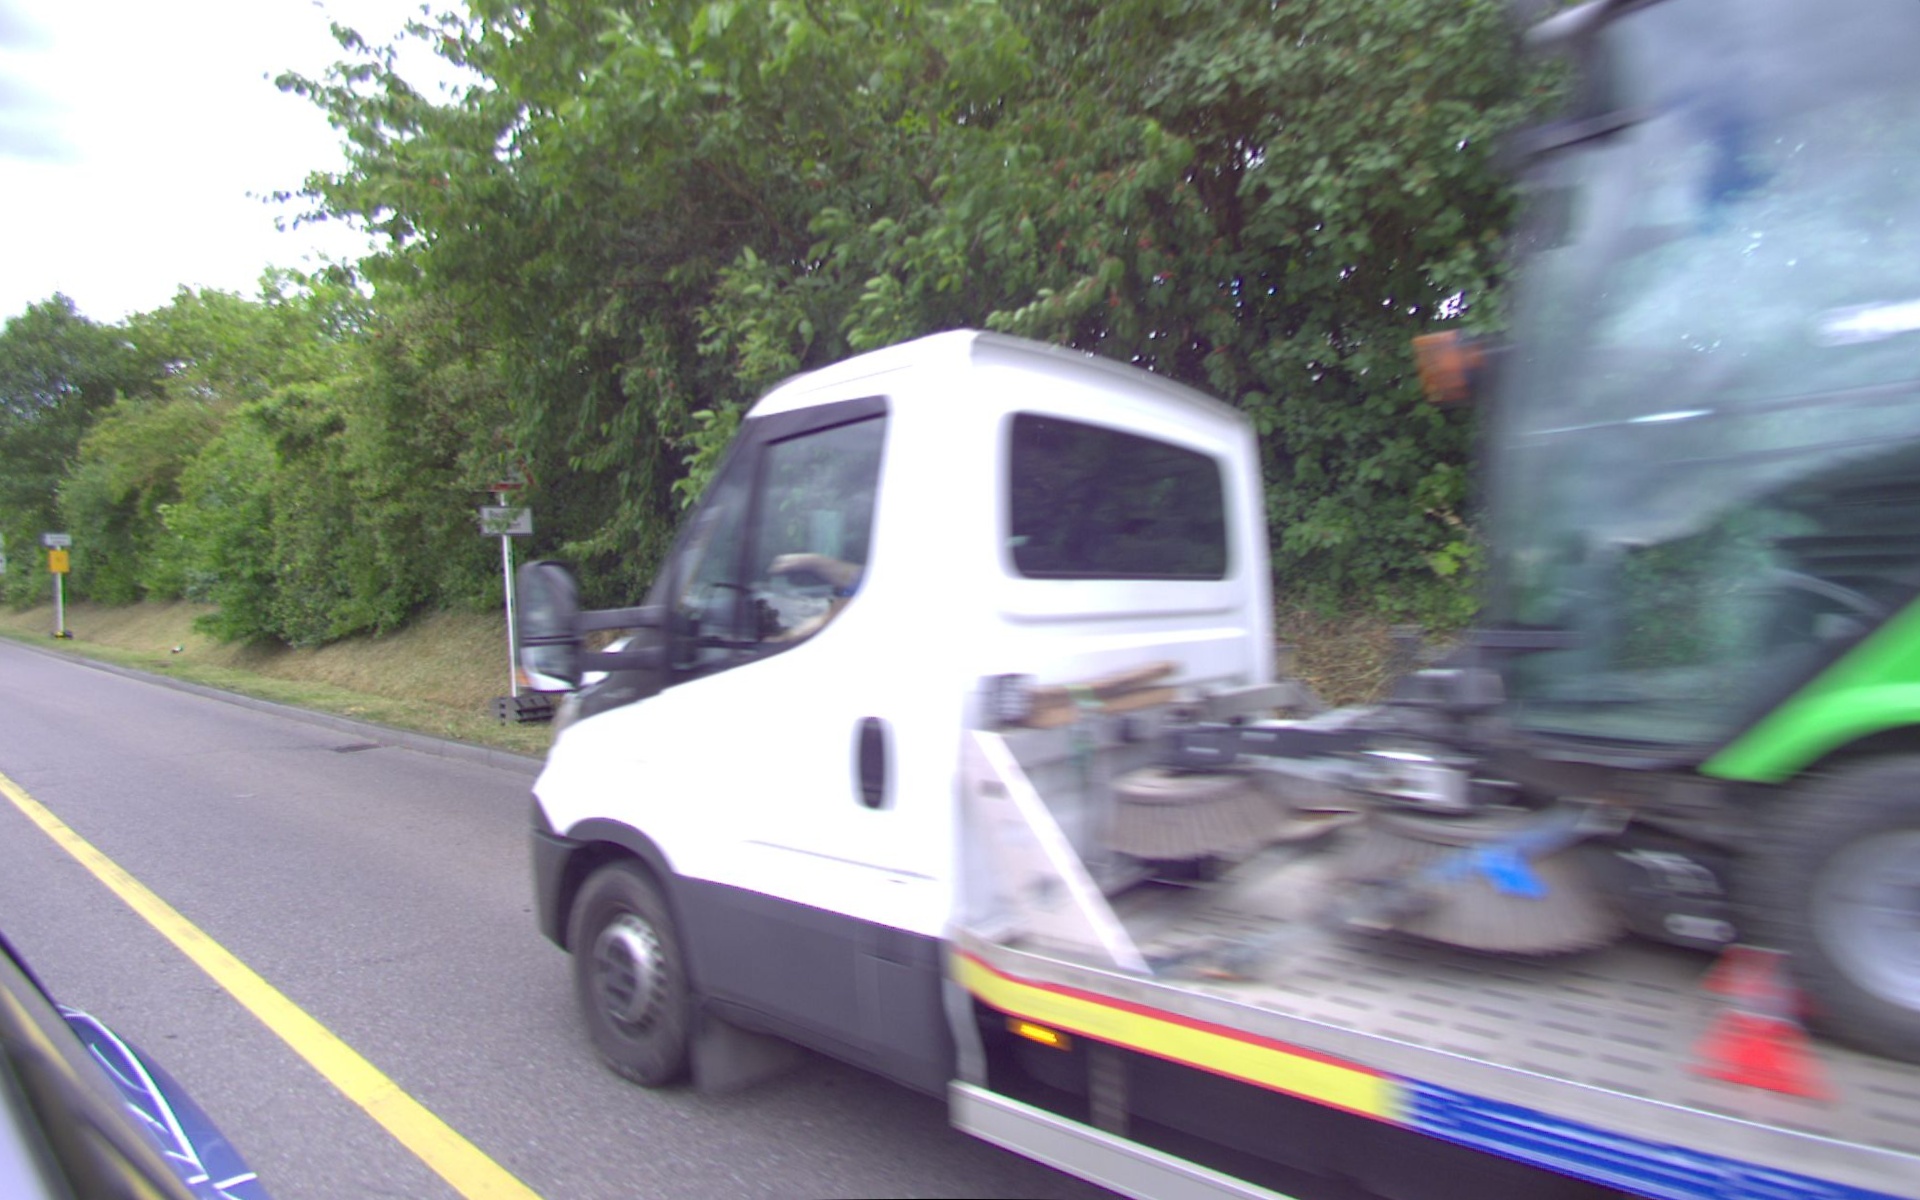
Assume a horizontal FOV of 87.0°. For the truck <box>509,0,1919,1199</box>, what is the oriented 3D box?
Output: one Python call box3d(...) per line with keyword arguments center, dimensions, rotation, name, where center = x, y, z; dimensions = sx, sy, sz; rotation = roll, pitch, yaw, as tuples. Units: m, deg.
box3d(center=(2.132, -0.117, 1.676), dimensions=(7.735, 3.037, 2.192), rotation=(-1, -1, 41), name="truck")
